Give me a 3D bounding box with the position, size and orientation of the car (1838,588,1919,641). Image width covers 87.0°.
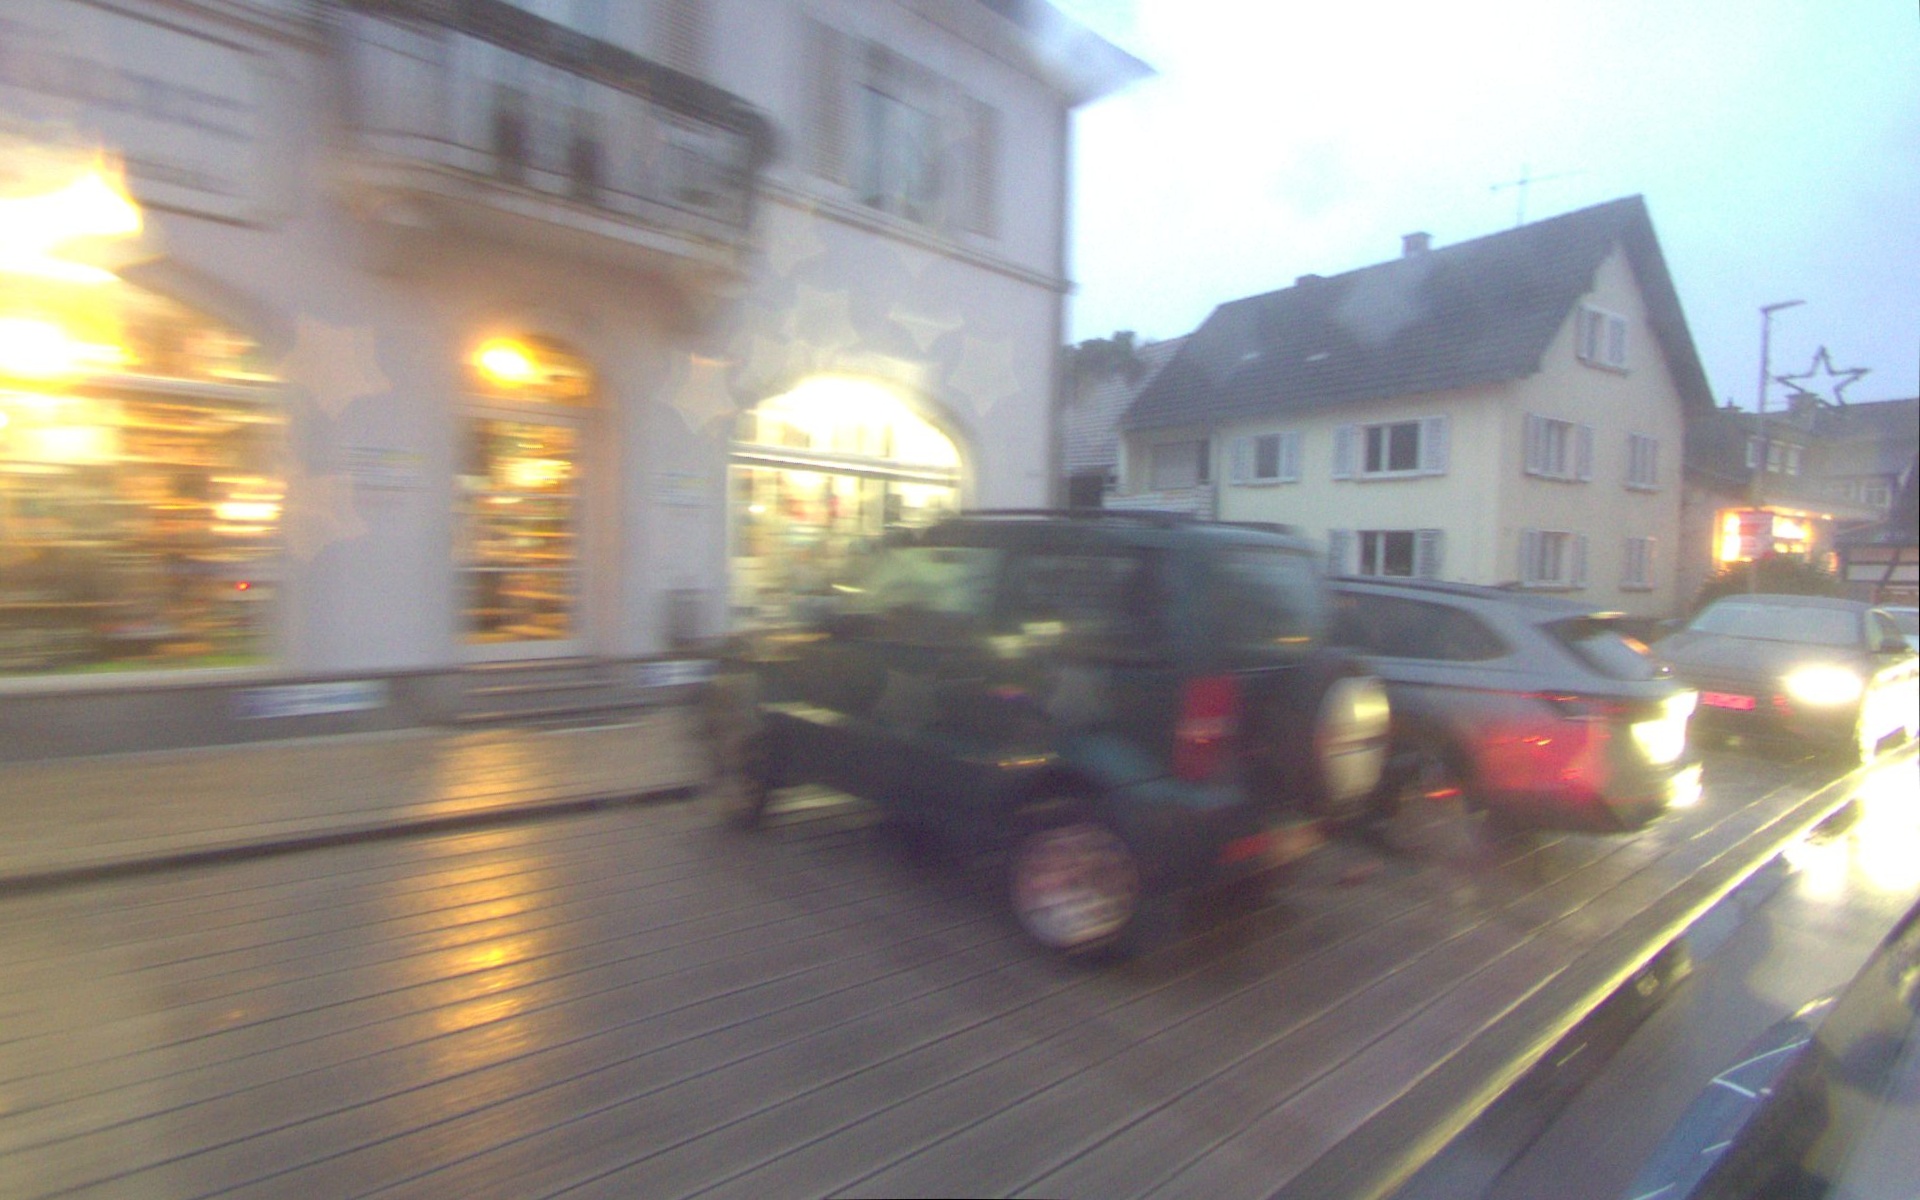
[{"bbox_3d":[30.355,0.507,32.149,1.654,1.457,3.304,0,6,-35],"label":"car"}]

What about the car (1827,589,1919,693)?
[{"bbox_3d":[15.915,0.634,16.470,4.447,1.478,1.800,0,4,-38],"label":"car"}]

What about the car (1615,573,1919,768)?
[{"bbox_3d":[8.859,0.590,10.737,4.588,1.565,1.887,1,3,-40],"label":"car"}]

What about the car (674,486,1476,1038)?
[{"bbox_3d":[0.317,0.371,4.927,3.505,1.701,1.689,6,4,43],"label":"car"}]

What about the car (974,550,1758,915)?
[{"bbox_3d":[2.327,0.517,6.793,1.866,1.491,4.474,1,4,-43],"label":"car"}]
